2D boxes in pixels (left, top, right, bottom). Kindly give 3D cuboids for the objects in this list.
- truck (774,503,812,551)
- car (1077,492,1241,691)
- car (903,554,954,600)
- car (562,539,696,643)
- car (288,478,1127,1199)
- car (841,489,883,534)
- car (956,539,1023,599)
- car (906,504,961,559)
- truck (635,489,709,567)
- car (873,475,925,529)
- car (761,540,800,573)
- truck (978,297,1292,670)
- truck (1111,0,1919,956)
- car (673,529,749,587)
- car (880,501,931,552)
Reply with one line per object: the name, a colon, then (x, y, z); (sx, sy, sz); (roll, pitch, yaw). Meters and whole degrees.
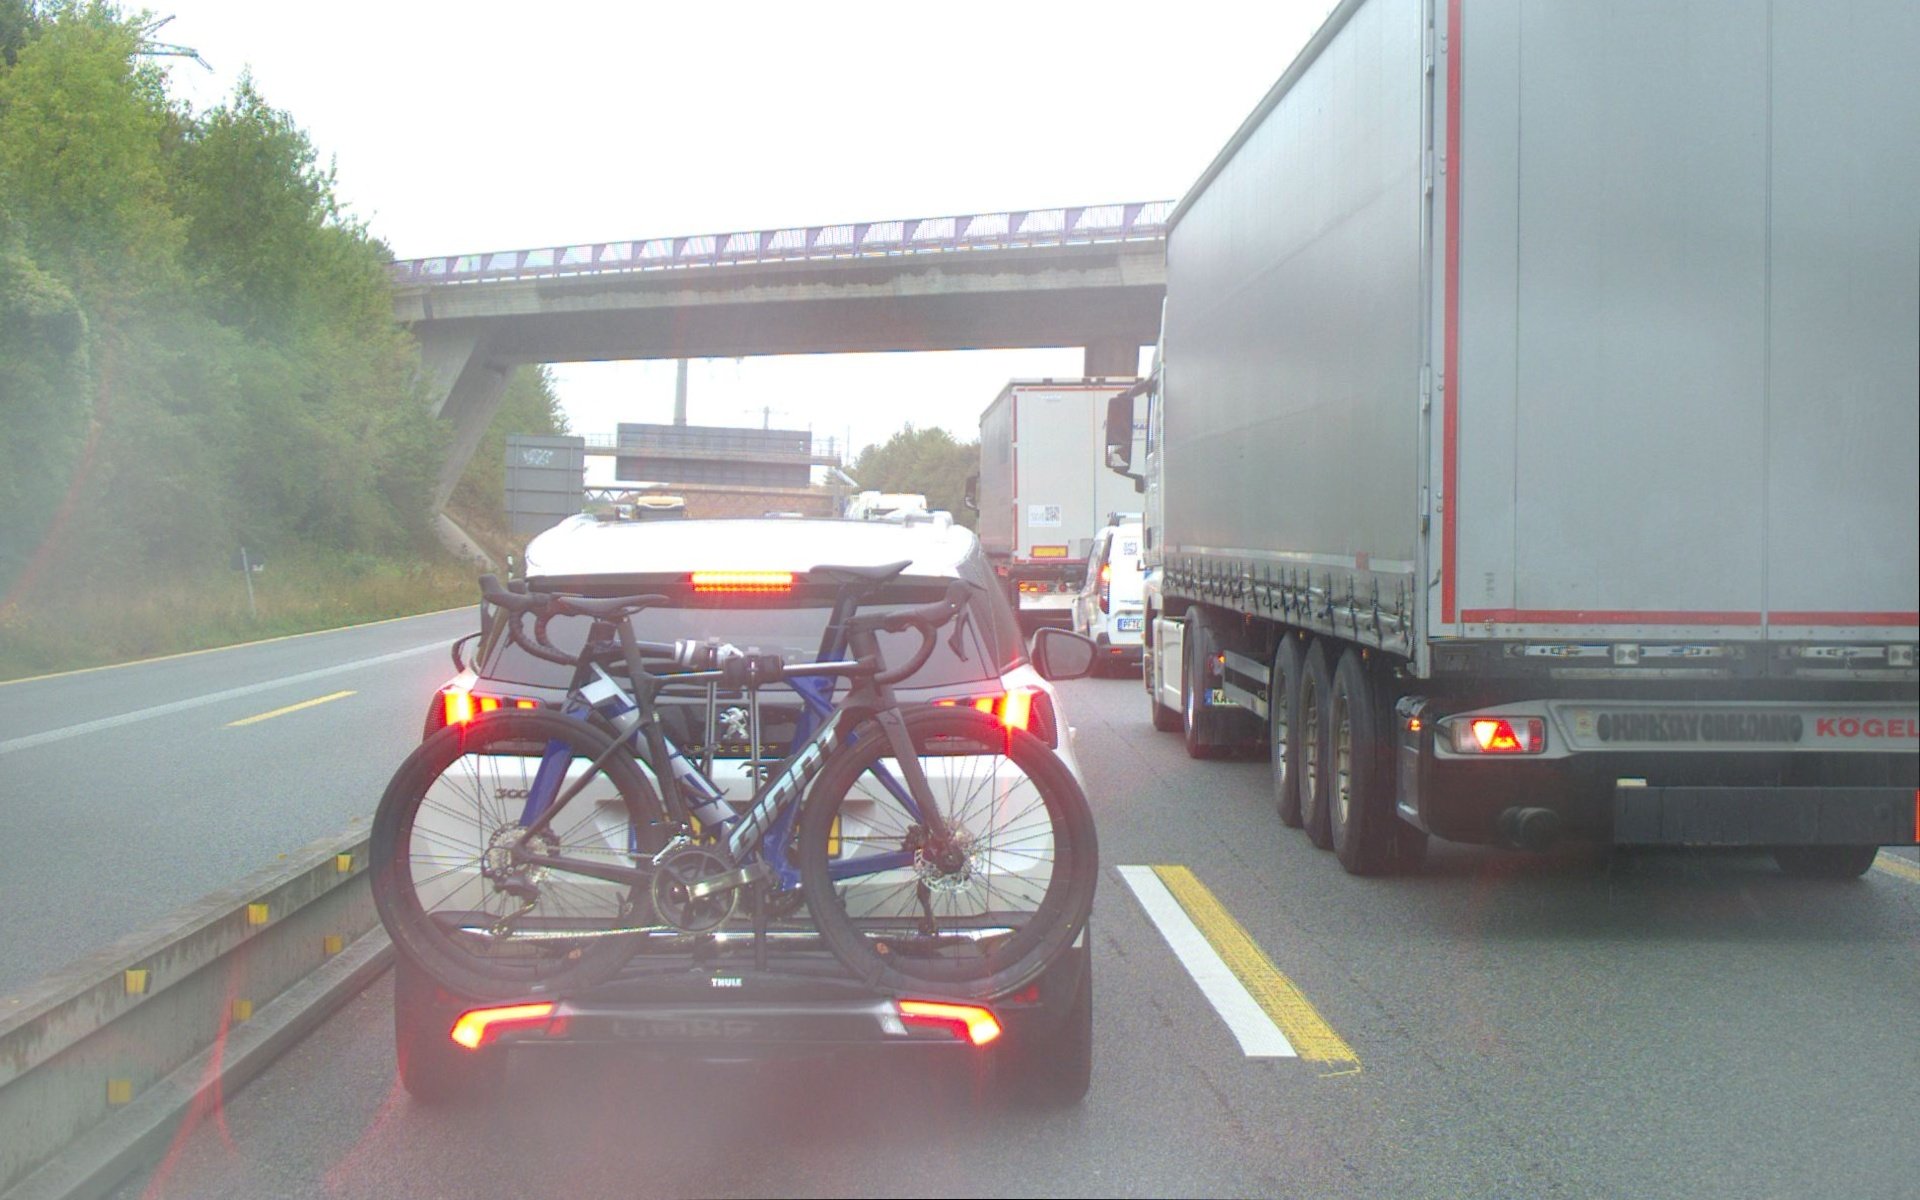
truck: (-12.241, -5.307, 252.615); (2.535, 3.341, 12.051); (1, 1, -1)
car: (2.273, -0.117, 40.151); (1.670, 2.173, 4.535); (1, 1, 1)
car: (-1.052, -0.781, 115.079); (1.638, 1.492, 3.666); (1, 1, 0)
car: (-5.154, -0.159, 53.964); (1.810, 1.554, 3.990); (1, 1, -1)
car: (-0.530, 0.534, 9.789); (1.810, 1.632, 4.635); (1, 1, 1)
car: (-4.820, -4.332, 169.348); (1.993, 2.119, 4.527); (1, 1, 0)
car: (0.743, -0.803, 88.568); (1.638, 1.492, 3.666); (1, 1, 0)
car: (-0.992, -2.521, 127.521); (1.993, 2.007, 4.000); (1, 1, 0)
truck: (-14.071, -3.456, 168.631); (2.681, 3.644, 12.312); (1, 1, 0)
car: (-2.673, -4.311, 151.999); (2.239, 2.299, 4.572); (1, 1, 0)
car: (-7.928, -1.919, 152.001); (1.686, 1.404, 3.930); (1, 1, -2)
truck: (2.762, -1.889, 62.720); (4.743, 5.654, 20.376); (1, 1, 1)
truck: (3.531, -1.665, 22.459); (3.979, 5.654, 20.377); (1, 1, 0)
car: (-6.598, -1.109, 91.524); (1.810, 1.483, 4.397); (1, 1, -1)
car: (-2.202, -2.950, 139.344); (1.993, 2.007, 4.000); (1, 1, 0)
